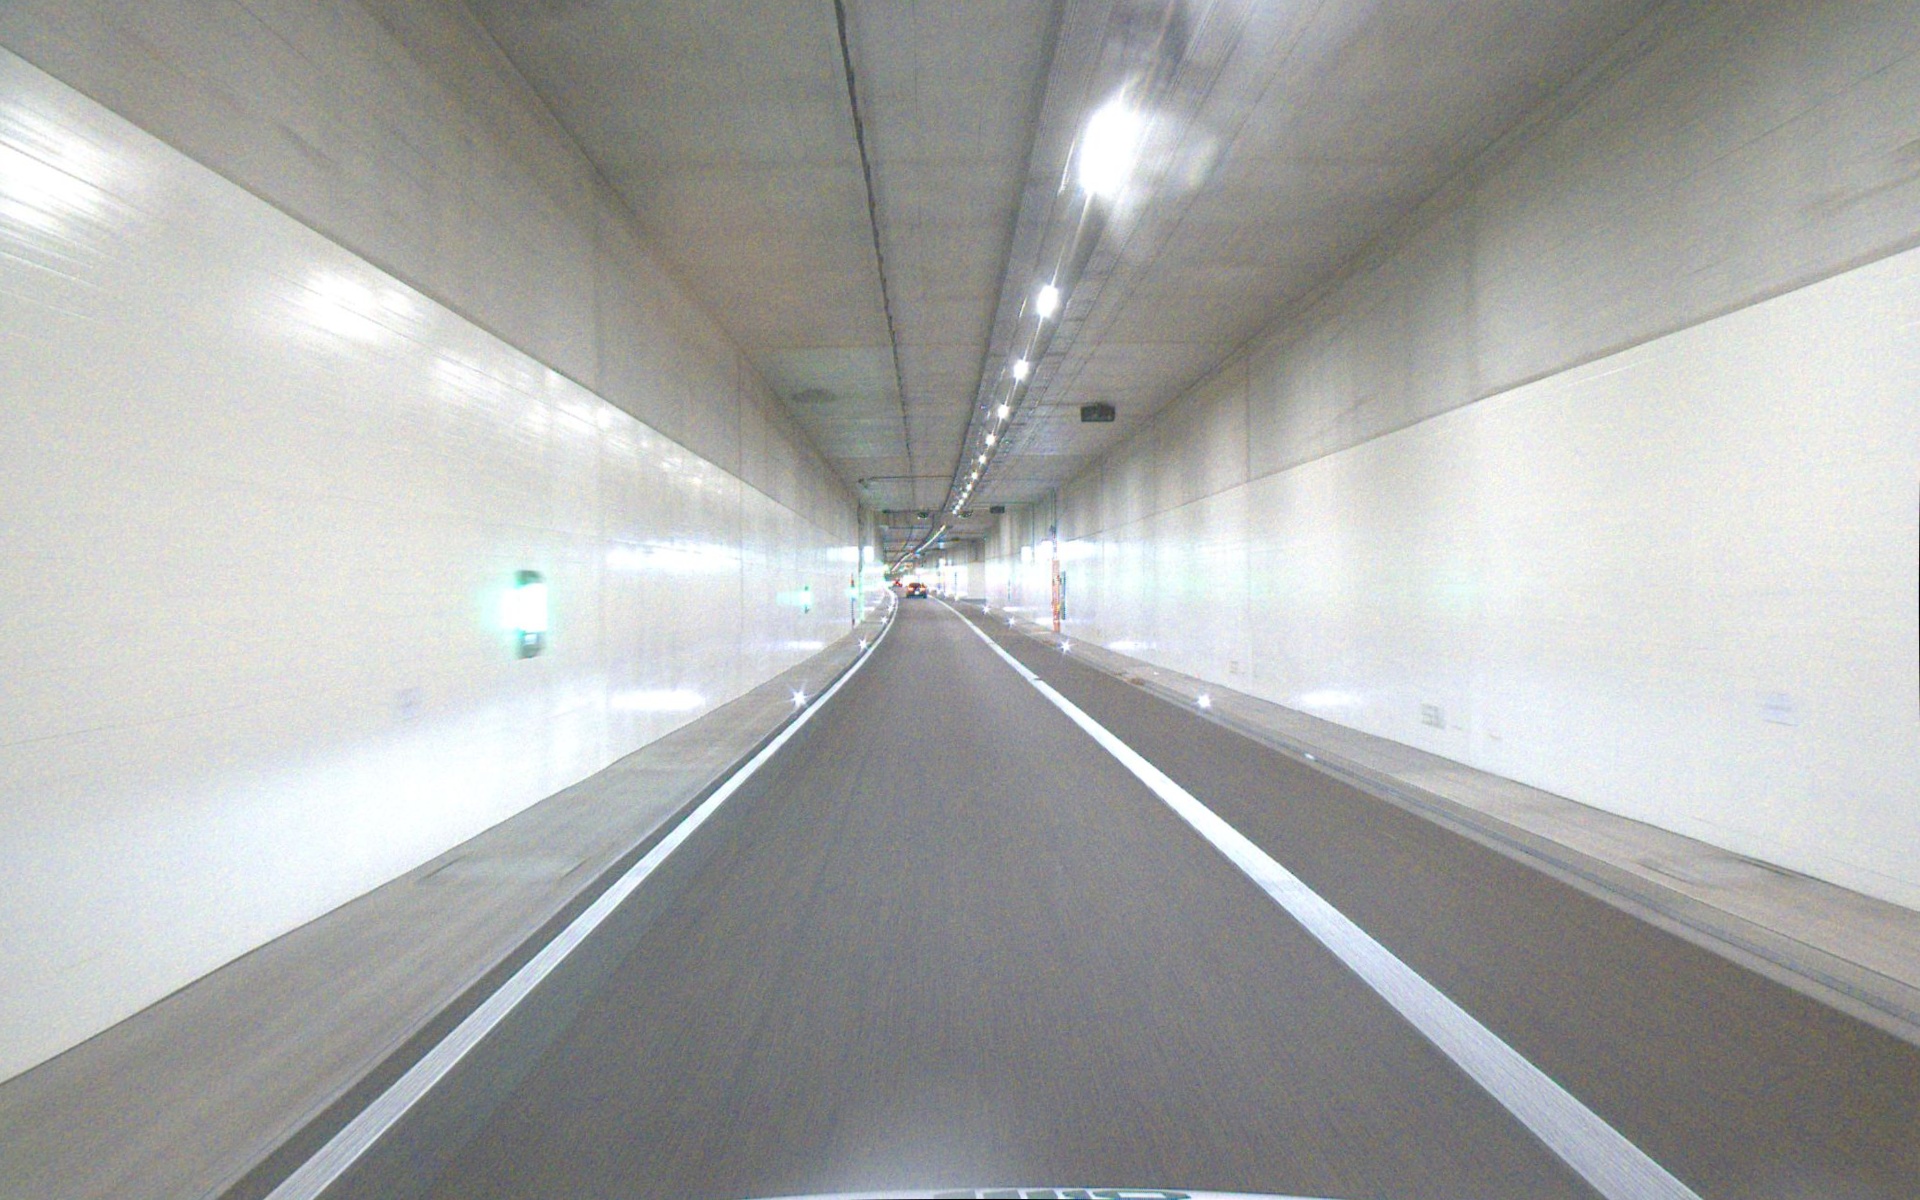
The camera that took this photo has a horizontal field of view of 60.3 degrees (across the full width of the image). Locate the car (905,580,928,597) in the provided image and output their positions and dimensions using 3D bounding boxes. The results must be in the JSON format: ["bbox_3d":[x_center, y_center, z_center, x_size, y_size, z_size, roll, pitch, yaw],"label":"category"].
[{"bbox_3d":[-3.930,-1.052,149.544,1.954,1.444,3.998,-3,1,-3],"label":"car"}]
